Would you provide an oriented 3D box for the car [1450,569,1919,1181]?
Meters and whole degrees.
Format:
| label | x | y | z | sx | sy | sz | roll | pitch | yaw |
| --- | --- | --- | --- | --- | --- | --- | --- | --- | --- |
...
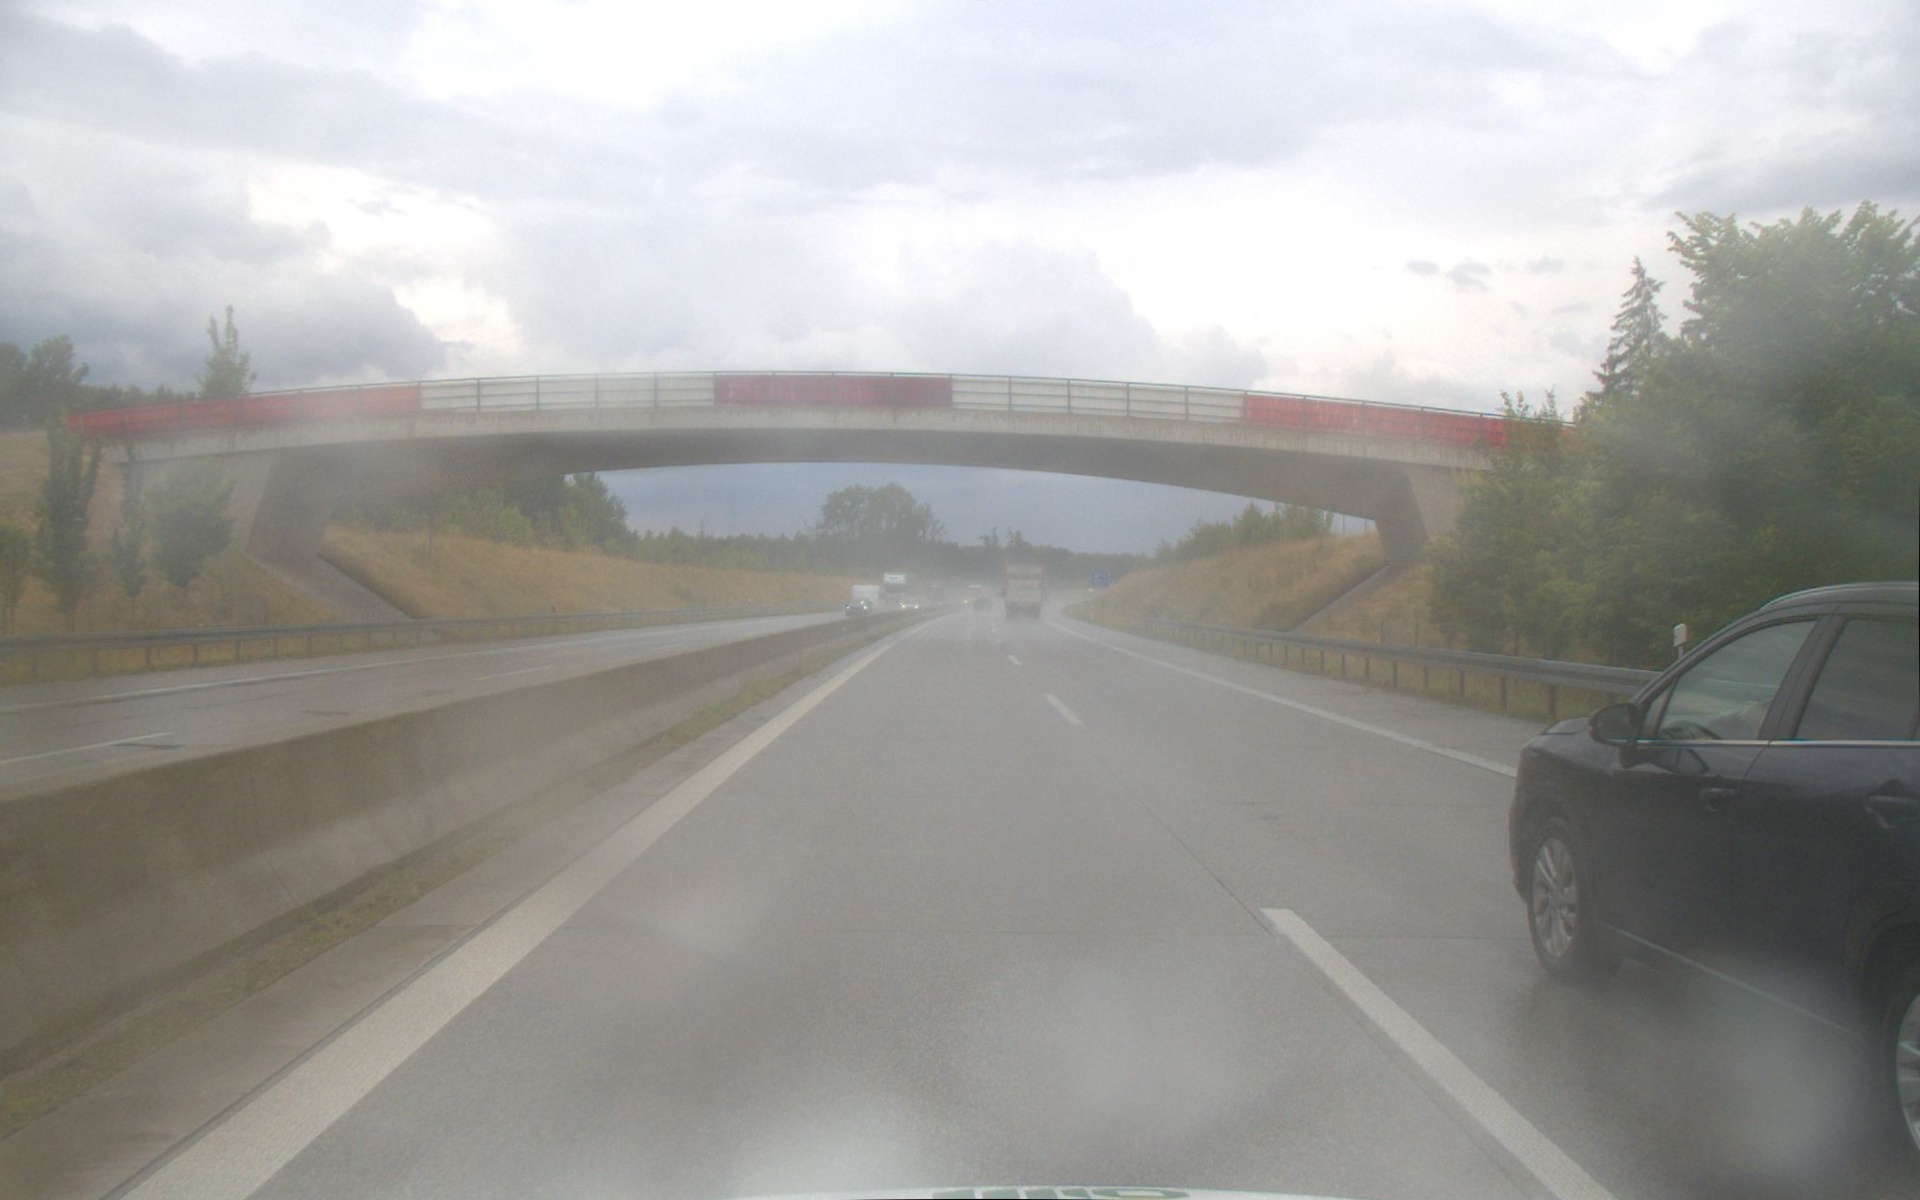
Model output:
| label | x | y | z | sx | sy | sz | roll | pitch | yaw |
| --- | --- | --- | --- | --- | --- | --- | --- | --- | --- |
| car | 3.321 | 0.723 | 6.171 | 1.855 | 1.603 | 3.631 | 1 | 0 | -1 |

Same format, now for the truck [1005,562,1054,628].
| label | x | y | z | sx | sy | sz | roll | pitch | yaw |
| --- | --- | --- | --- | --- | --- | --- | --- | --- | --- |
| truck | 4.935 | -0.407 | 116.427 | 3.175 | 4.514 | 8.251 | 0 | 1 | 4 |
